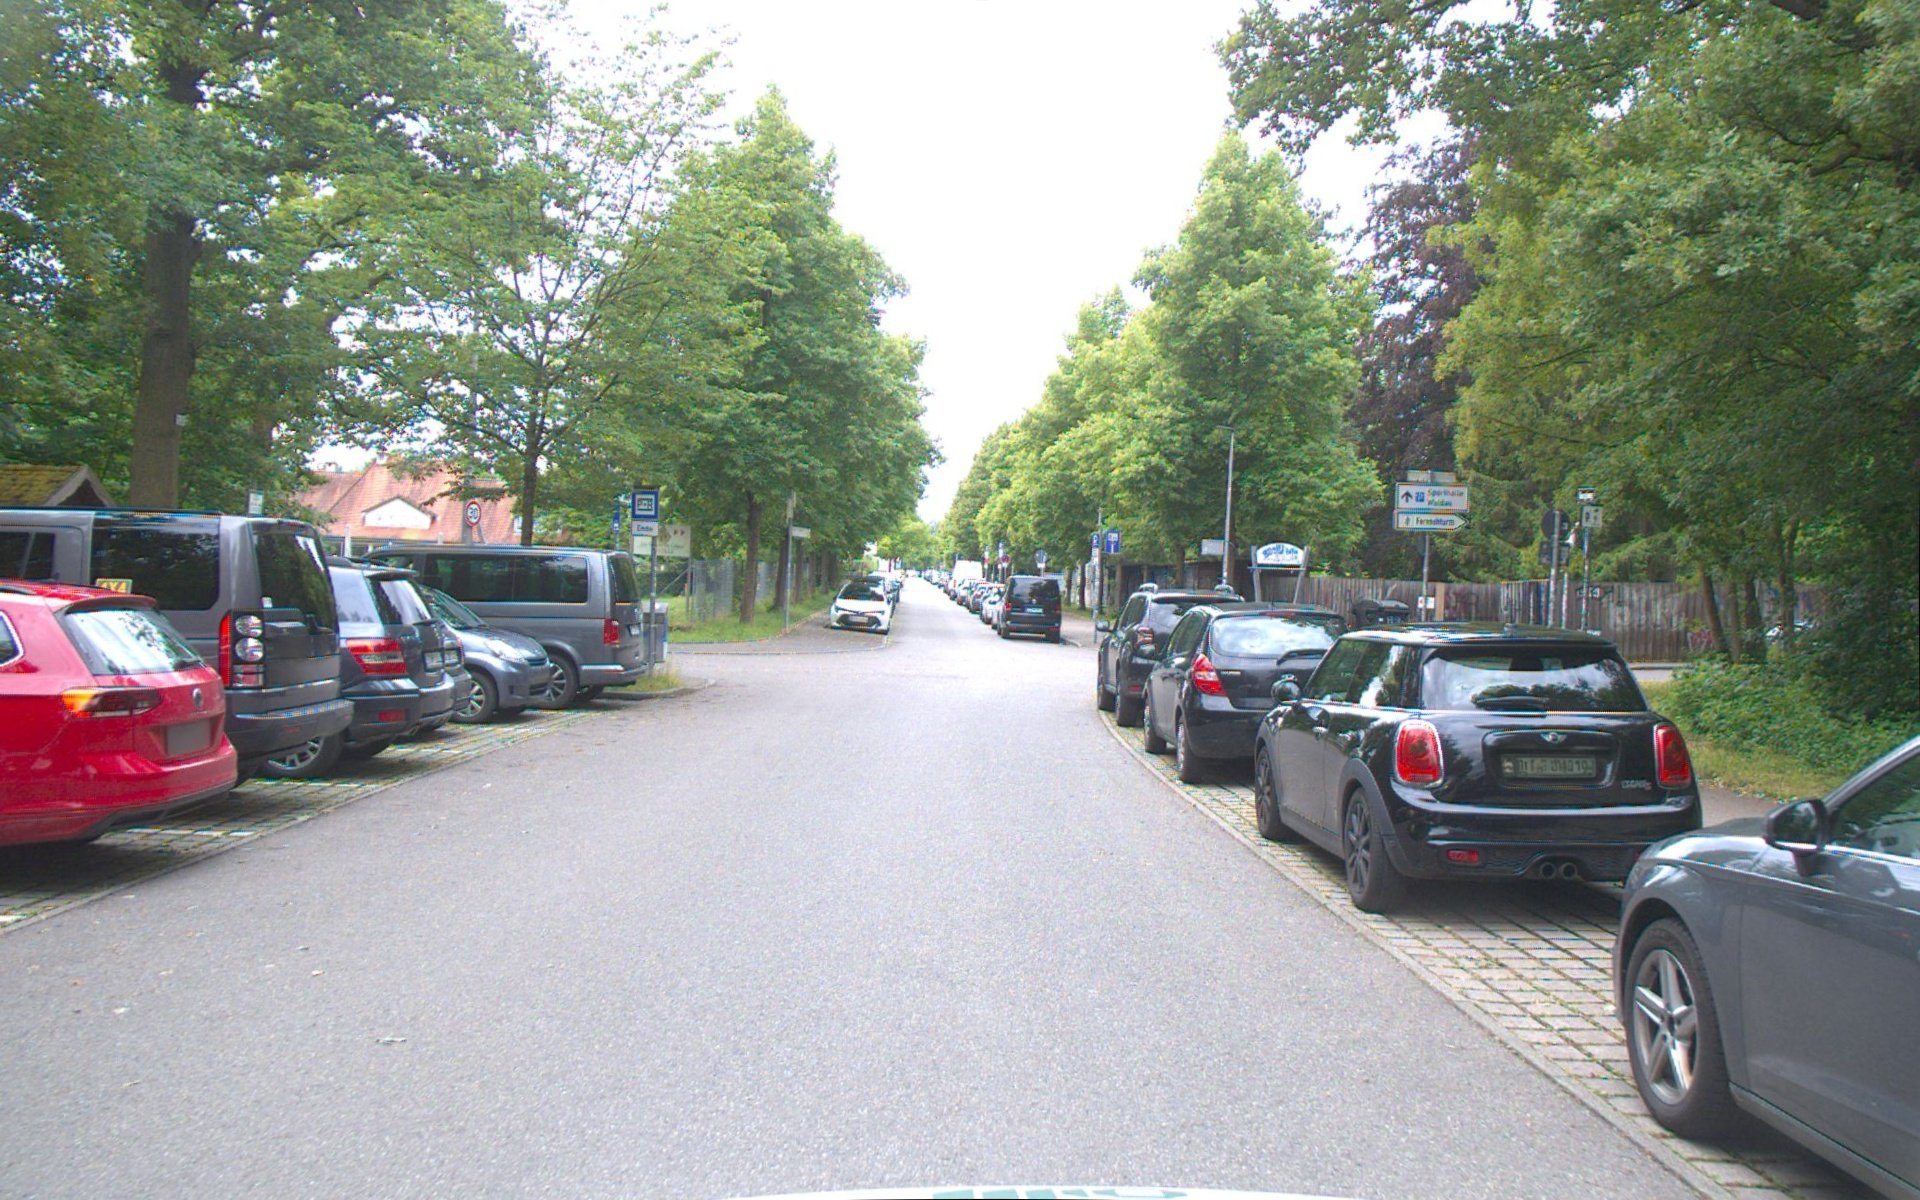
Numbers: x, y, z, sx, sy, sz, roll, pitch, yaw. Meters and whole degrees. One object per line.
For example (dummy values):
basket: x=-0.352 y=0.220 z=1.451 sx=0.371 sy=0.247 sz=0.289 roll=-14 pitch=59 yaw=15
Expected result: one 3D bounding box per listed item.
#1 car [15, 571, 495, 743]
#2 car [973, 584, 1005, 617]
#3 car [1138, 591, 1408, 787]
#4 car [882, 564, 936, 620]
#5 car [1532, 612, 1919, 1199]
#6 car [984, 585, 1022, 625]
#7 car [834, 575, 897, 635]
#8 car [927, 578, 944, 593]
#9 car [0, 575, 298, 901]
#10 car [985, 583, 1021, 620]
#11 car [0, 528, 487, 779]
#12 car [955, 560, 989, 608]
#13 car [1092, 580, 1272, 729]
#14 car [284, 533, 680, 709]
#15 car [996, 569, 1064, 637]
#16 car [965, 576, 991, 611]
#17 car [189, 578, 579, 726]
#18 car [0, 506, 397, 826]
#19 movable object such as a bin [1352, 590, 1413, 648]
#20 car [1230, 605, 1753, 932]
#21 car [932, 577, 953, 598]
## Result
car: x=-6.768 y=0.527 z=16.182 sx=3.906 sy=1.455 sz=1.720 roll=2 pitch=0 yaw=-1
car: x=1.411 y=-0.002 z=80.984 sx=1.439 sy=1.558 sz=3.189 roll=1 pitch=0 yaw=0
car: x=2.734 y=0.709 z=15.368 sx=1.700 sy=1.521 sz=4.234 roll=1 pitch=0 yaw=0
car: x=-1.977 y=-0.312 z=64.586 sx=1.953 sy=2.049 sz=3.999 roll=2 pitch=0 yaw=-2
car: x=2.973 y=0.800 z=3.740 sx=1.701 sy=1.457 sz=4.501 roll=1 pitch=0 yaw=-1
car: x=1.718 y=0.184 z=67.012 sx=1.439 sy=1.507 sz=3.189 roll=1 pitch=0 yaw=0
car: x=-2.869 y=0.122 z=49.967 sx=1.730 sy=1.623 sz=4.213 roll=4 pitch=0 yaw=-4
car: x=-2.965 y=-1.833 z=204.203 sx=1.859 sy=1.736 sz=4.065 roll=1 pitch=-1 yaw=2
car: x=-5.775 y=0.604 z=8.607 sx=3.908 sy=1.502 sz=1.778 roll=2 pitch=0 yaw=-4
car: x=1.856 y=0.041 z=72.348 sx=1.439 sy=1.558 sz=3.189 roll=1 pitch=0 yaw=0
car: x=-6.068 y=0.395 z=13.437 sx=3.908 sy=1.796 sz=1.823 roll=2 pitch=0 yaw=-3
car: x=0.797 y=-1.048 z=110.583 sx=2.139 sy=3.068 sz=4.897 roll=1 pitch=0 yaw=0
car: x=2.716 y=0.622 z=21.098 sx=1.700 sy=1.662 sz=4.375 roll=1 pitch=0 yaw=0
car: x=-5.900 y=0.265 z=20.867 sx=4.412 sy=2.013 sz=1.890 roll=1 pitch=-1 yaw=-3
car: x=2.200 y=0.064 z=52.739 sx=1.947 sy=2.049 sz=4.108 roll=1 pitch=0 yaw=0
car: x=1.026 y=-0.371 z=97.072 sx=1.439 sy=2.002 sz=3.189 roll=1 pitch=0 yaw=0
car: x=-6.402 y=0.545 z=18.673 sx=3.736 sy=1.539 sz=1.809 roll=1 pitch=1 yaw=1
car: x=-6.033 y=0.365 z=11.000 sx=3.907 sy=1.895 sz=1.813 roll=2 pitch=0 yaw=-2
movable object such as a bin: x=11.106 y=0.503 z=43.461 sx=1.061 sy=1.468 sz=1.277 roll=1 pitch=-1 yaw=45
car: x=2.846 y=0.792 z=9.957 sx=1.700 sy=1.457 sz=4.502 roll=1 pitch=0 yaw=0
car: x=-1.818 y=-1.319 z=170.720 sx=1.952 sy=2.049 sz=4.001 roll=1 pitch=-1 yaw=2
